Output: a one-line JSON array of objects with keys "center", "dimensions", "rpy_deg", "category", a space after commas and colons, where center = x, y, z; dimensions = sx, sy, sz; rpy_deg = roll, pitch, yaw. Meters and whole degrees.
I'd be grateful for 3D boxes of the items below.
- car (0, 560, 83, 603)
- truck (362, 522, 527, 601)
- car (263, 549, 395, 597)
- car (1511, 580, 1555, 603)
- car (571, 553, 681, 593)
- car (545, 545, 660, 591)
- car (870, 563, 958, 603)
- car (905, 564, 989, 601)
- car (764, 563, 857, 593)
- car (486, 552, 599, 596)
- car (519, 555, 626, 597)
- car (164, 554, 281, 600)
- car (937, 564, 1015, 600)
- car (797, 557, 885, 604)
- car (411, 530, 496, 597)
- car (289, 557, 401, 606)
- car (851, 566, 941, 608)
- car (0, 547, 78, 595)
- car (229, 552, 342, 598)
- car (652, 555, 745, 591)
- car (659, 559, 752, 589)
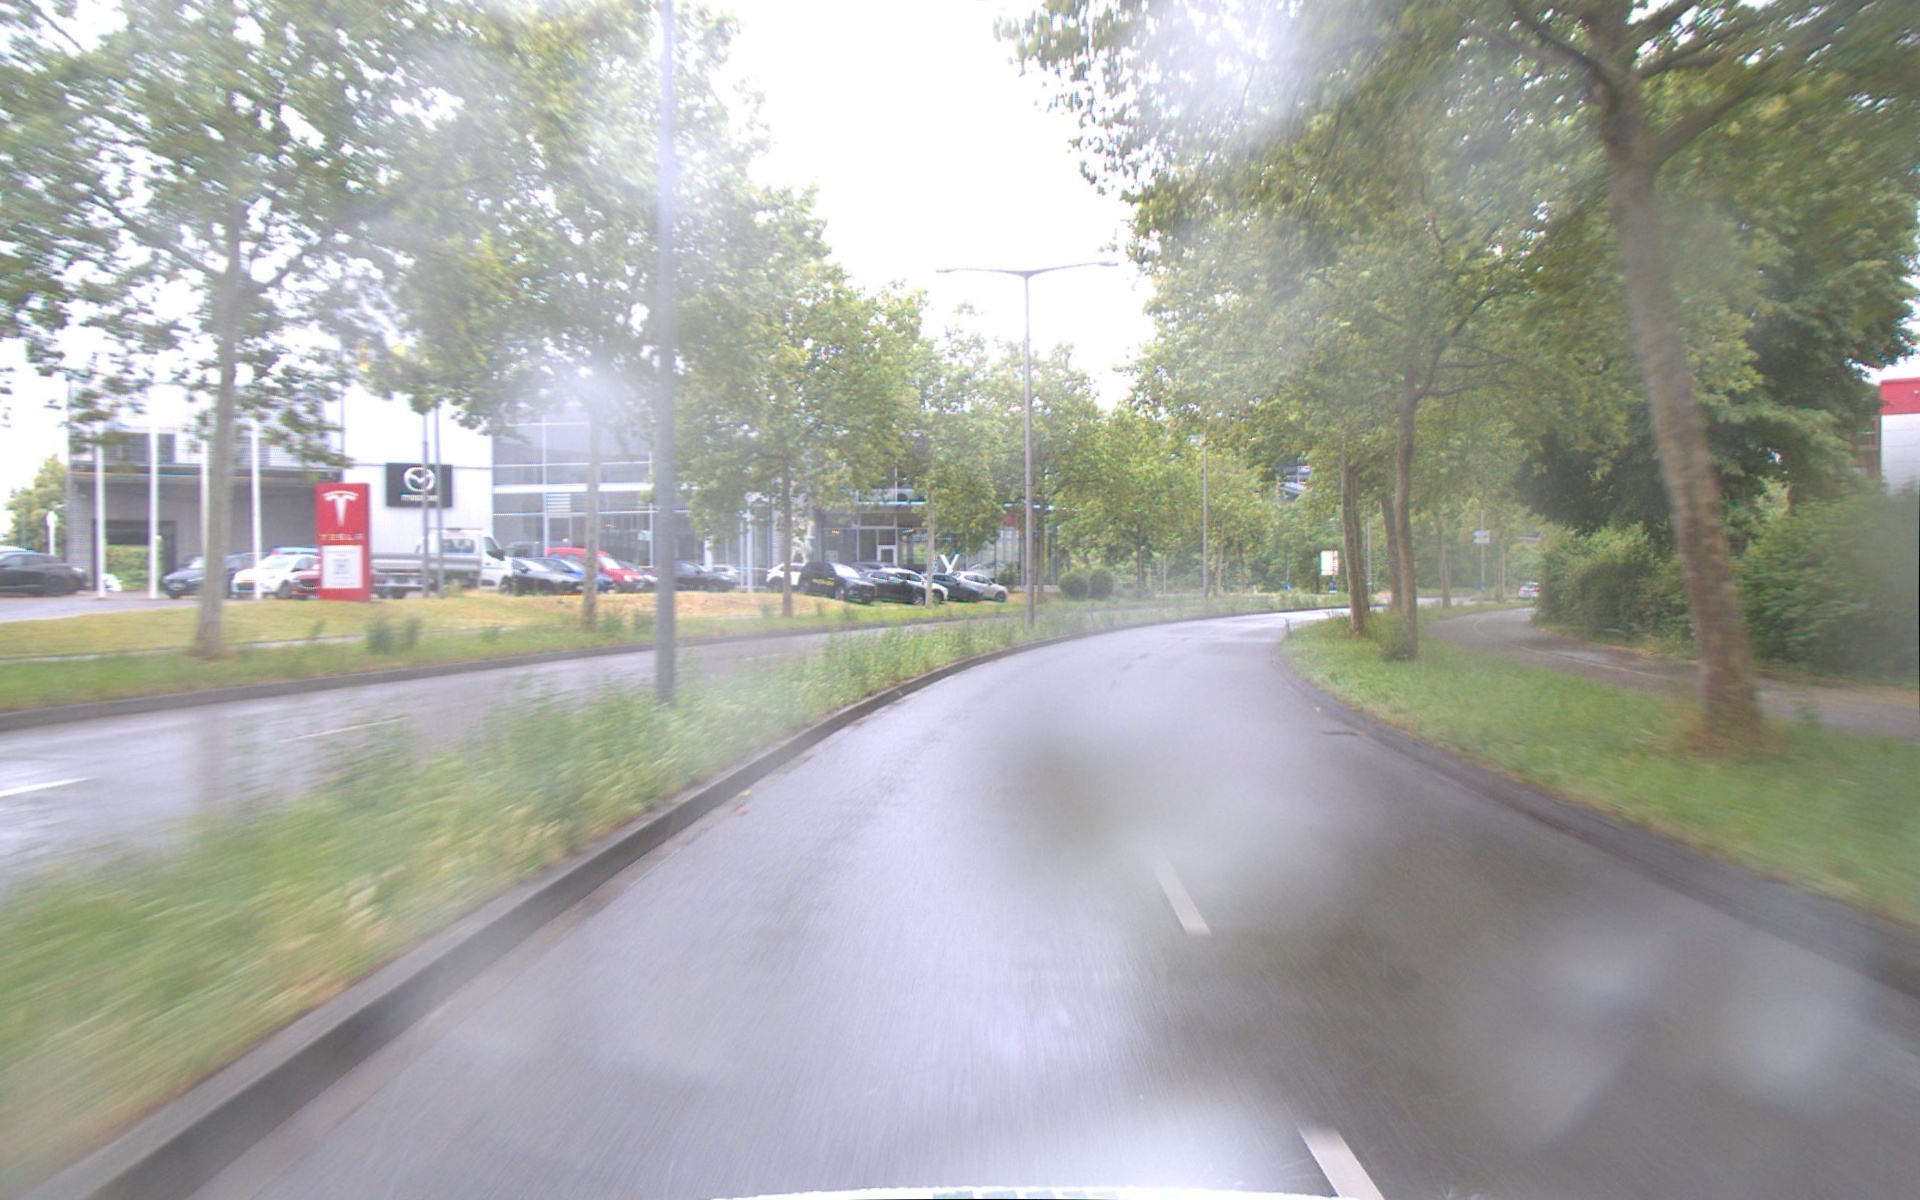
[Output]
[{"center": [-32.976, -0.652, 57.477], "dimensions": [1.737, 1.421, 4.133], "rpy_deg": [3, 3, 41], "category": "car"}, {"center": [-17.051, -1.314, 55.137], "dimensions": [2.199, 2.385, 6.200], "rpy_deg": [3, 3, 15], "category": "truck"}, {"center": [-25.168, -1.075, 65.994], "dimensions": [4.604, 1.795, 1.797], "rpy_deg": [1, 1, -37], "category": "car"}, {"center": [42.496, -0.676, 122.627], "dimensions": [1.752, 1.582, 3.980], "rpy_deg": [2, 3, 40], "category": "car"}, {"center": [-13.550, -1.126, 67.116], "dimensions": [3.911, 1.380, 1.849], "rpy_deg": [3, 2, 14], "category": "car"}, {"center": [-13.870, -1.268, 64.284], "dimensions": [3.911, 1.583, 1.849], "rpy_deg": [3, 2, 14], "category": "car"}, {"center": [-2.375, -0.876, 85.492], "dimensions": [4.065, 1.503, 1.835], "rpy_deg": [5, 4, -25], "category": "car"}, {"center": [-0.691, -0.950, 89.133], "dimensions": [4.059, 1.446, 1.837], "rpy_deg": [6, 4, -22], "category": "car"}, {"center": [-7.602, -1.132, 84.096], "dimensions": [4.327, 1.499, 1.922], "rpy_deg": [1, 1, 12], "category": "car"}, {"center": [-14.976, -0.945, 59.388], "dimensions": [3.448, 1.349, 1.770], "rpy_deg": [3, 2, 14], "category": "car"}, {"center": [-14.425, -0.916, 61.619], "dimensions": [3.448, 1.349, 1.770], "rpy_deg": [3, 2, 14], "category": "car"}, {"center": [-25.252, -0.823, 56.810], "dimensions": [1.725, 1.421, 4.161], "rpy_deg": [1, 2, 8], "category": "car"}, {"center": [0.913, -1.005, 93.132], "dimensions": [3.945, 1.500, 1.769], "rpy_deg": [5, 4, -30], "category": "car"}, {"center": [-5.738, -0.952, 79.122], "dimensions": [1.831, 1.582, 4.374], "rpy_deg": [4, 5, -42], "category": "car"}, {"center": [-22.332, -1.634, 72.778], "dimensions": [2.145, 2.800, 5.277], "rpy_deg": [1, 1, -34], "category": "car"}, {"center": [-20.471, -0.649, 55.214], "dimensions": [1.725, 1.492, 4.161], "rpy_deg": [1, 2, 8], "category": "car"}, {"center": [-3.185, -0.647, 82.657], "dimensions": [4.053, 1.503, 1.840], "rpy_deg": [6, 4, -18], "category": "car"}, {"center": [-35.858, -1.101, 62.505], "dimensions": [1.731, 1.758, 4.147], "rpy_deg": [2, 3, 32], "category": "car"}, {"center": [-22.967, -0.878, 56.475], "dimensions": [1.725, 1.421, 4.161], "rpy_deg": [1, 2, 8], "category": "car"}, {"center": [-11.670, -1.200, 74.039], "dimensions": [3.917, 1.380, 1.847], "rpy_deg": [2, 2, -4], "category": "car"}, {"center": [-13.015, -1.316, 84.671], "dimensions": [4.328, 1.499, 1.921], "rpy_deg": [0, 1, 5], "category": "car"}]
